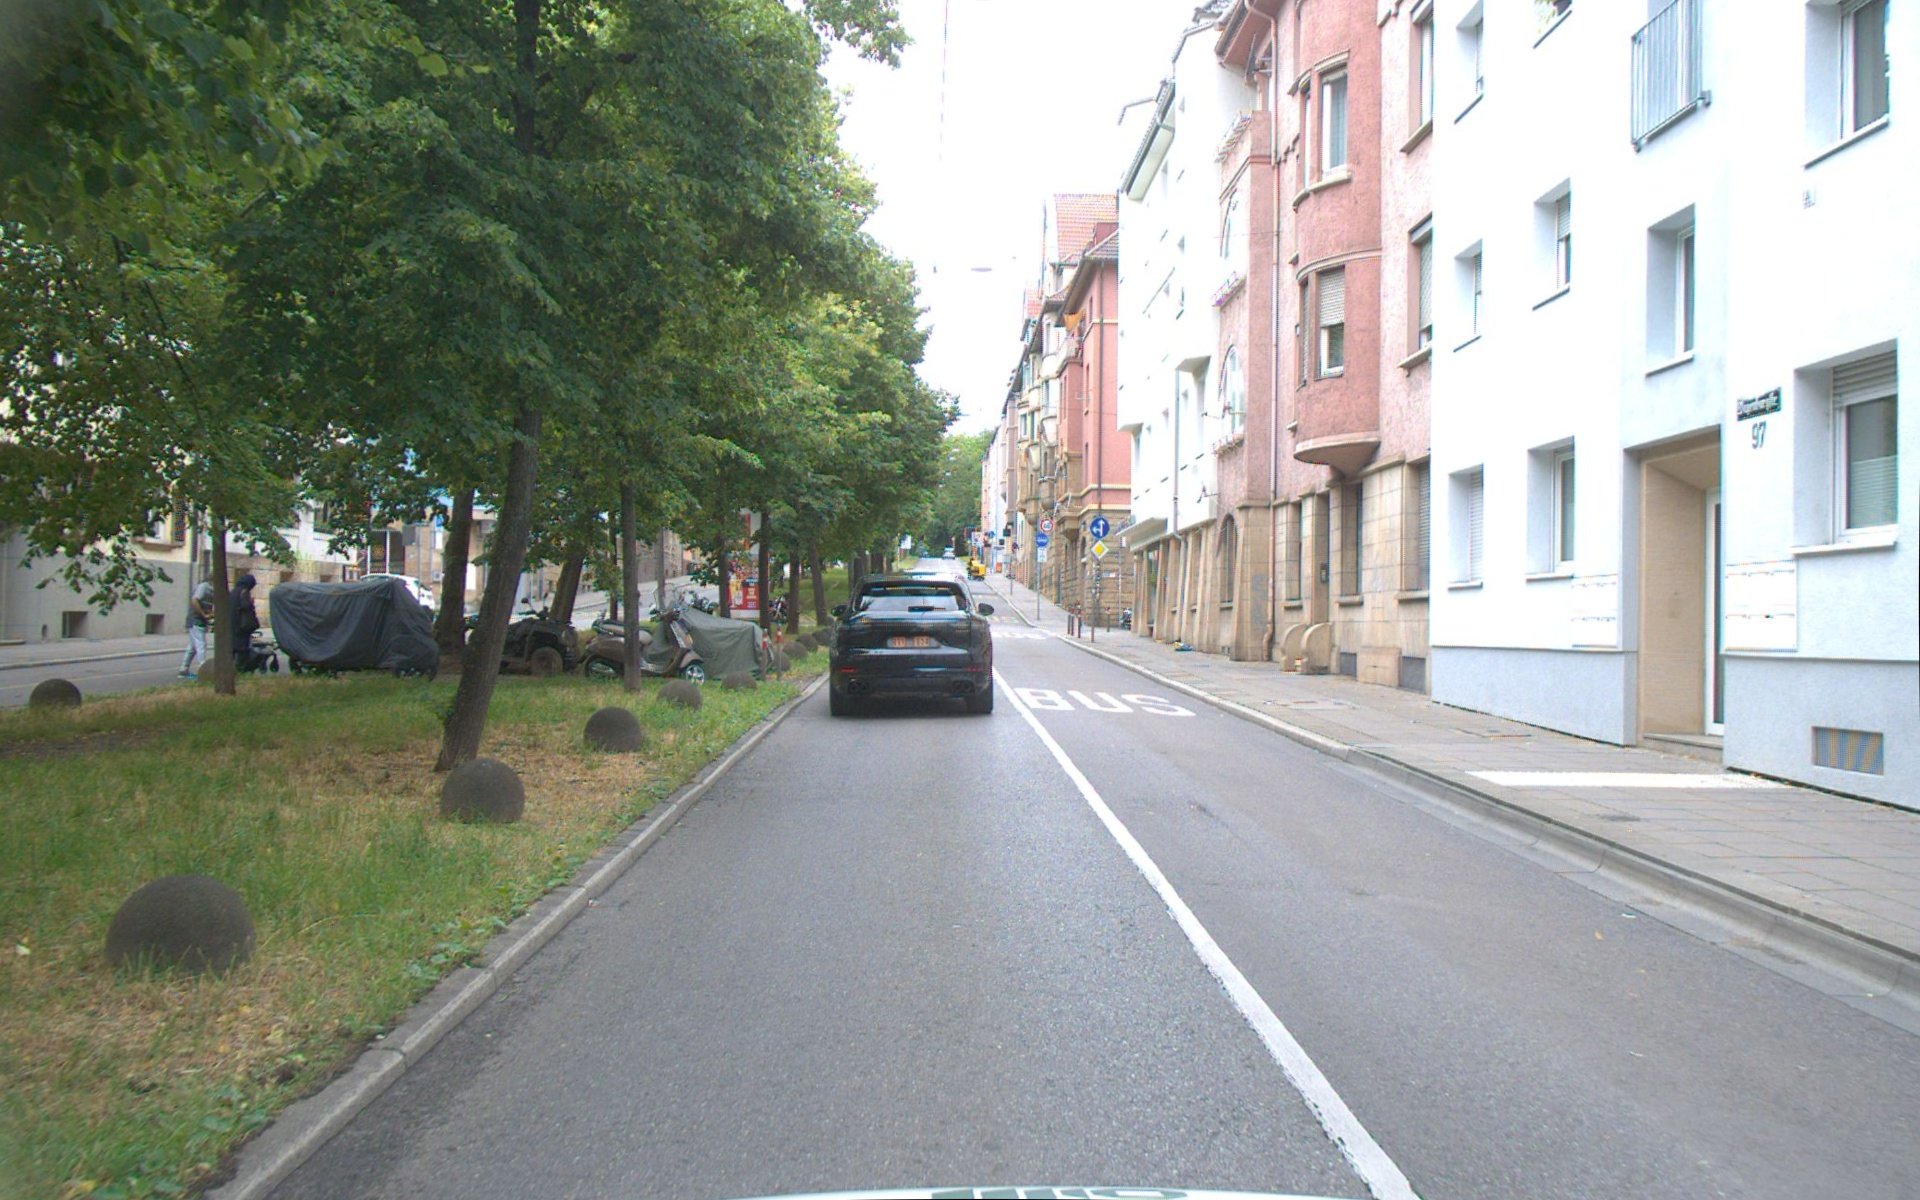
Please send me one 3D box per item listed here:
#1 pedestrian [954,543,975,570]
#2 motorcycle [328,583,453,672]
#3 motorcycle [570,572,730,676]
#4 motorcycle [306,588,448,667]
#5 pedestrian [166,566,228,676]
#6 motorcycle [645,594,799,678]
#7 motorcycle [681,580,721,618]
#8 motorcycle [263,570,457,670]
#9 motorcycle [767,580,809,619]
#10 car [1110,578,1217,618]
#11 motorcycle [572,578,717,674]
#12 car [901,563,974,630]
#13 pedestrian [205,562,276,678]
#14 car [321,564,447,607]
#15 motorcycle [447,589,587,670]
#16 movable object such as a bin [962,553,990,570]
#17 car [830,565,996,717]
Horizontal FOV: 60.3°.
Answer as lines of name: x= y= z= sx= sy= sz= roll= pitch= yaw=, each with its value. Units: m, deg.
pedestrian: x=0.376 y=-3.433 z=130.243 sx=1.290 sy=2.049 sz=1.008 roll=0 pitch=1 yaw=-35
motorcycle: x=-8.860 y=0.419 z=25.785 sx=1.727 sy=1.362 sz=0.624 roll=0 pitch=0 yaw=-3
motorcycle: x=-4.518 y=0.338 z=24.204 sx=2.148 sy=1.463 sz=0.874 roll=1 pitch=1 yaw=1
motorcycle: x=-9.516 y=0.444 z=27.028 sx=2.087 sy=1.257 sz=0.622 roll=0 pitch=-1 yaw=-2
pedestrian: x=-11.565 y=0.309 z=25.079 sx=0.649 sy=1.644 sz=0.579 roll=1 pitch=1 yaw=1
motorcycle: x=-3.741 y=0.563 z=26.164 sx=2.308 sy=1.257 sz=1.033 roll=1 pitch=1 yaw=-3
motorcycle: x=-7.872 y=-0.031 z=50.386 sx=0.882 sy=1.126 sz=2.251 roll=0 pitch=-1 yaw=0
motorcycle: x=-8.391 y=0.268 z=23.218 sx=2.334 sy=1.340 sz=1.045 roll=1 pitch=1 yaw=-2
motorcycle: x=-5.258 y=-0.026 z=50.566 sx=1.041 sy=1.168 sz=2.448 roll=0 pitch=1 yaw=0
car: x=7.565 y=-0.109 z=61.247 sx=1.966 sy=1.400 sz=3.973 roll=1 pitch=1 yaw=44
motorcycle: x=-4.437 y=0.365 z=23.357 sx=1.886 sy=1.319 sz=0.893 roll=0 pitch=-1 yaw=-3
car: x=-0.629 y=-0.116 z=46.665 sx=1.953 sy=1.784 sz=4.000 roll=1 pitch=1 yaw=-1
pedestrian: x=-10.429 y=0.274 z=23.991 sx=0.621 sy=1.641 sz=0.765 roll=2 pitch=1 yaw=5
car: x=-21.168 y=-0.530 z=60.890 sx=3.906 sy=1.523 sz=2.000 roll=0 pitch=1 yaw=-1
motorcycle: x=-7.106 y=0.465 z=26.607 sx=1.986 sy=1.257 sz=0.897 roll=0 pitch=1 yaw=4
movable object such as a bin: x=1.244 y=-3.035 z=129.406 sx=1.231 sy=1.296 sz=1.818 roll=0 pitch=1 yaw=-42
car: x=-0.616 y=0.435 z=20.783 sx=1.865 sy=1.695 sz=4.134 roll=1 pitch=1 yaw=-3
